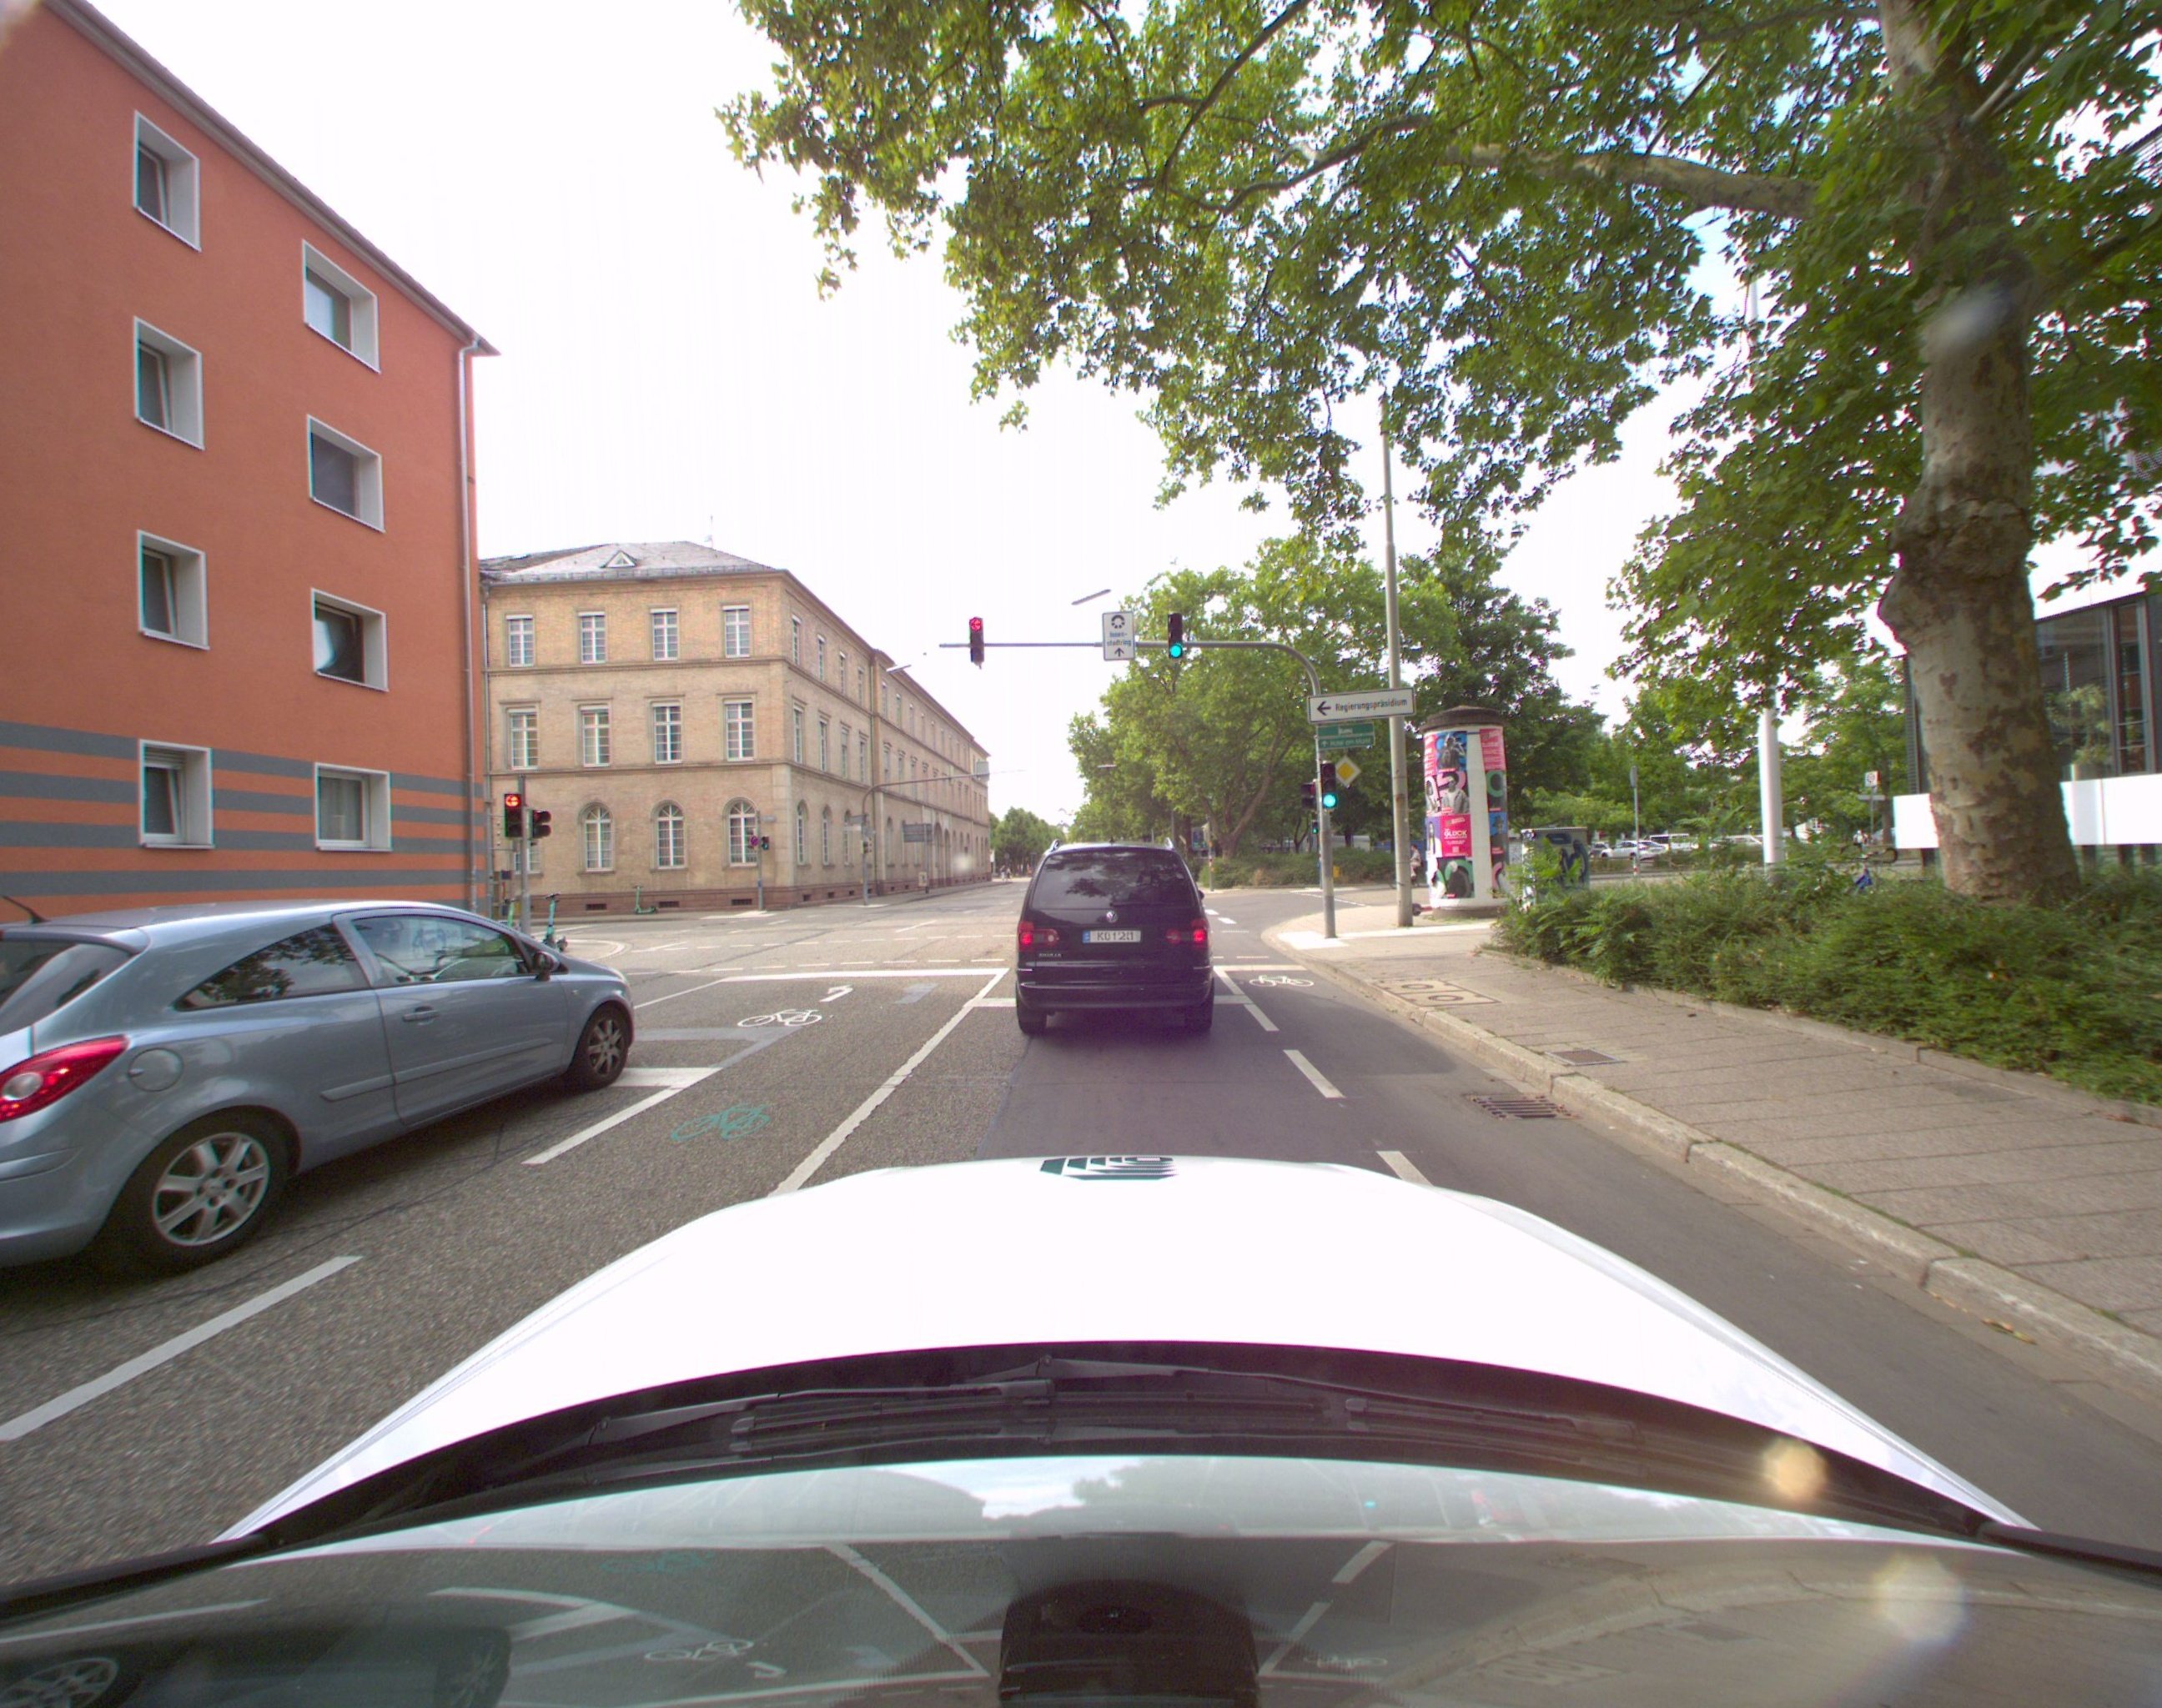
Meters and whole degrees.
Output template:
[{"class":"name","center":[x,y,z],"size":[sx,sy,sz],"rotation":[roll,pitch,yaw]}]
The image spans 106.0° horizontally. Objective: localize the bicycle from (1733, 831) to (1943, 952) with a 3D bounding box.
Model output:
[{"class":"bicycle","center":[8.008,0.367,8.737],"size":[0.695,1.169,1.726],"rotation":[0,-1,3]}]

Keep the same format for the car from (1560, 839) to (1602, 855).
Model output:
[{"class":"car","center":[52.055,-0.735,84.878],"size":[1.987,1.580,3.788],"rotation":[0,-1,-1]}]

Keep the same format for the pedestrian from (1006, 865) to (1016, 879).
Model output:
[{"class":"pedestrian","center":[-8.339,2.130,96.440],"size":[0.888,1.641,0.857],"rotation":[-1,-1,20]}]

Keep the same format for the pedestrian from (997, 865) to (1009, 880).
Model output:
[{"class":"pedestrian","center":[-9.238,2.138,96.520],"size":[0.952,1.741,1.262],"rotation":[-1,-1,20]}]

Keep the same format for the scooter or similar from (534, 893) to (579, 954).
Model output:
[{"class":"scooter or similar","center":[-11.066,1.451,17.213],"size":[0.329,1.179,1.338],"rotation":[0,-1,-11]}]

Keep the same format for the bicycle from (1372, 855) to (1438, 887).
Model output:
[{"class":"bicycle","center":[12.816,0.677,32.232],"size":[2.233,1.172,0.917],"rotation":[-2,-2,6]}]

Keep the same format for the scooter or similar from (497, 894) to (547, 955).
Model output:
[{"class":"scooter or similar","center":[-11.666,1.453,17.024],"size":[0.329,1.158,1.349],"rotation":[0,-1,-11]}]

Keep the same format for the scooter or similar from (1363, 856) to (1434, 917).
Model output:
[{"class":"scooter or similar","center":[6.826,0.699,17.539],"size":[1.299,1.209,0.345],"rotation":[-4,-1,6]}]

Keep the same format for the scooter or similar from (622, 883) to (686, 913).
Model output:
[{"class":"scooter or similar","center":[-16.897,1.739,32.258],"size":[2.355,1.165,0.561],"rotation":[0,-1,8]}]

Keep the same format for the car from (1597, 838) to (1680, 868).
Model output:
[{"class":"car","center":[35.484,-0.037,52.025],"size":[1.987,1.794,4.771],"rotation":[0,-1,-1]}]

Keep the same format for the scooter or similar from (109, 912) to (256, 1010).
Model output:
[{"class":"scooter or similar","center":[-11.696,1.359,10.659],"size":[0.367,1.124,1.355],"rotation":[0,-1,3]}]

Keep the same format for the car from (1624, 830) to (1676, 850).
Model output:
[{"class":"car","center":[59.278,-1.417,84.961],"size":[1.987,2.014,4.771],"rotation":[0,-1,-1]}]

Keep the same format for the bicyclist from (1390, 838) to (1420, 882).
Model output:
[{"class":"bicyclist","center":[12.828,0.234,32.248],"size":[0.825,1.678,0.917],"rotation":[-2,-2,7]}]

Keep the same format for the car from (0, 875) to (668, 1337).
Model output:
[{"class":"car","center":[-4.201,0.903,4.591],"size":[1.662,1.439,3.821],"rotation":[-2,-1,2]}]

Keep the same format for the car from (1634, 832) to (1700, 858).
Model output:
[{"class":"car","center":[49.121,-0.729,68.373],"size":[1.989,2.014,4.769],"rotation":[0,-1,-2]}]

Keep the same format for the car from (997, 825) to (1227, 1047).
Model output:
[{"class":"car","center":[0.314,0.677,8.610],"size":[1.787,1.708,4.132],"rotation":[-2,-1,2]}]
